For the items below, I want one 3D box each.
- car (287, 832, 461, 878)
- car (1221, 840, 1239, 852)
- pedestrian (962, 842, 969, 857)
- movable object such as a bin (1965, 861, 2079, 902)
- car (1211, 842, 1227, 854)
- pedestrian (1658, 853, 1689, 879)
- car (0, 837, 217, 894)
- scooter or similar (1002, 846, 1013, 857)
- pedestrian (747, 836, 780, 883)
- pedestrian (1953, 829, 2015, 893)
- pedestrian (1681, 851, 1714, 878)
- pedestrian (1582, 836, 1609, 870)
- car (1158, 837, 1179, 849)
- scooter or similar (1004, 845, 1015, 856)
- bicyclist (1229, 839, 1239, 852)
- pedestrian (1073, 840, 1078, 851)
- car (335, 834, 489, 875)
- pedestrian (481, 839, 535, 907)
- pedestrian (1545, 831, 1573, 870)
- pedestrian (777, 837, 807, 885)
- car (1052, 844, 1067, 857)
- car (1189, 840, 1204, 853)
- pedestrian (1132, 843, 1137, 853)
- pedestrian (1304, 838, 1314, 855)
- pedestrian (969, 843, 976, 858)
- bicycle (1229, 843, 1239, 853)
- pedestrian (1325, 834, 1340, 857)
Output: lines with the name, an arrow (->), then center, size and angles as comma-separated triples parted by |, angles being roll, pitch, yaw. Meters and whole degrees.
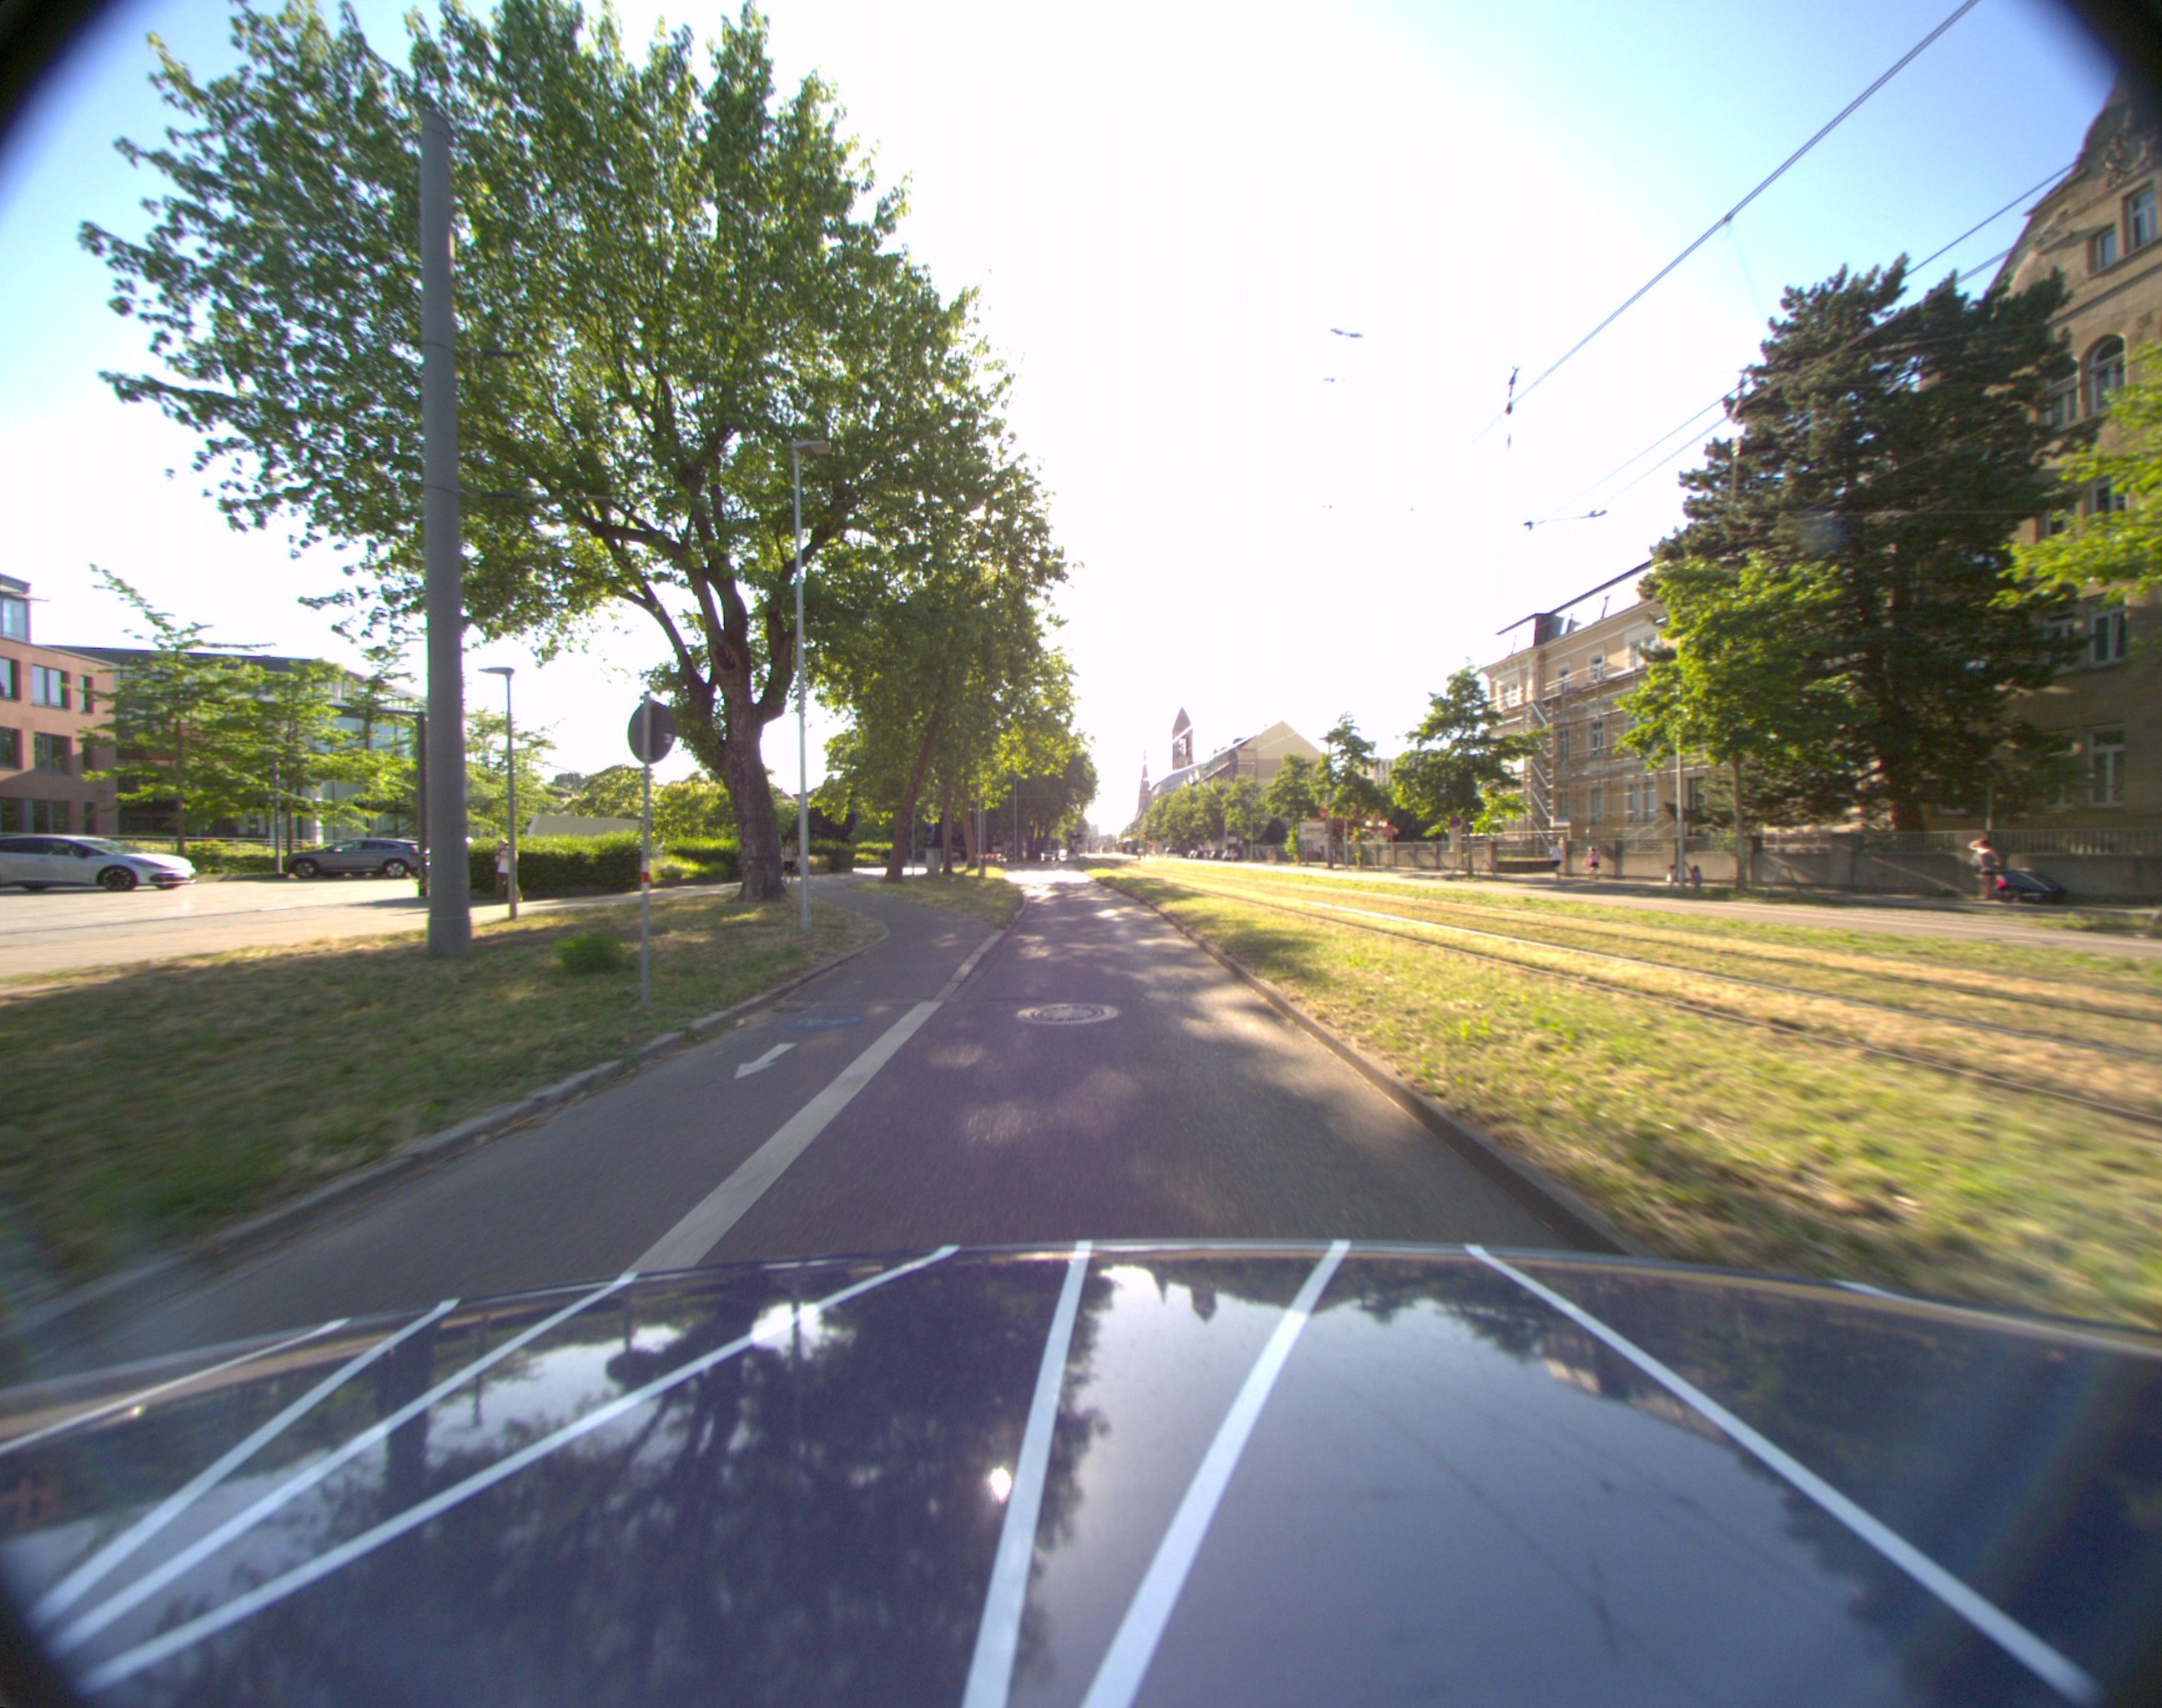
car -> -27.822, 0.063, 30.125 | 4.691, 1.703, 1.845 | 1, 0, -20
car -> 19.829, -1.101, 101.239 | 1.725, 1.577, 4.065 | -2, 1, 4
pedestrian -> -12.368, -0.480, 81.330 | 0.651, 1.647, 0.783 | 1, 1, 0
movable object such as a bin -> 22.864, 0.650, 18.492 | 1.248, 0.860, 1.236 | -2, 2, -2
car -> 20.233, -0.885, 111.547 | 1.725, 1.577, 4.065 | -2, 1, 4
pedestrian -> 21.803, 0.430, 27.964 | 0.651, 0.927, 0.585 | 1, 1, 5
car -> -27.757, 0.314, 21.320 | 4.178, 1.498, 1.996 | 1, 0, -20
scooter or similar -> -8.180, -0.292, 84.328 | 1.054, 1.237, 0.841 | 0, 2, 3
pedestrian -> -12.220, 0.194, 29.267 | 0.807, 1.783, 1.109 | 1, 1, 1
pedestrian -> 23.211, 0.170, 19.539 | 0.619, 1.584, 0.797 | -3, 1, -2
pedestrian -> 21.408, 0.355, 26.402 | 0.651, 0.927, 0.585 | 1, 1, 5
pedestrian -> 23.207, -0.055, 34.262 | 0.651, 1.531, 0.783 | 1, 1, -1
car -> 14.280, -1.805, 124.012 | 1.946, 1.907, 4.466 | 1, 1, -13
scooter or similar -> -8.027, -0.375, 85.217 | 1.054, 1.237, 0.841 | 0, 2, 3
bicyclist -> 17.751, -0.964, 88.132 | 0.776, 1.473, 1.134 | -2, 1, 0
pedestrian -> -0.859, -1.371, 121.940 | 0.681, 1.680, 0.894 | -2, 1, 0
car -> -29.122, 0.036, 33.247 | 4.691, 1.703, 1.845 | 1, 0, -20
pedestrian -> -13.292, 0.425, 17.657 | 0.651, 1.531, 0.783 | 1, 1, 0
pedestrian -> 21.906, -0.179, 34.836 | 0.651, 1.765, 0.888 | 1, 1, -1
pedestrian -> -11.131, 0.250, 29.296 | 0.752, 1.783, 1.086 | 1, 1, 1
car -> -3.287, -0.575, 116.611 | 1.944, 1.908, 4.469 | -3, 2, -6
car -> 20.138, -1.331, 132.811 | 1.998, 2.002, 4.000 | -2, 1, 2
pedestrian -> 9.021, -1.073, 127.711 | 0.681, 1.680, 0.654 | -3, 2, -2
pedestrian -> 22.983, -0.763, 76.682 | 0.726, 1.638, 0.812 | 1, 1, -6
pedestrian -> -11.632, -0.391, 81.204 | 0.629, 1.647, 0.739 | 1, 1, 0
bicycle -> 17.764, -0.692, 88.093 | 0.776, 1.187, 1.755 | -2, 1, 0
pedestrian -> 21.250, -0.736, 64.097 | 0.860, 1.917, 1.086 | 1, 1, -1
